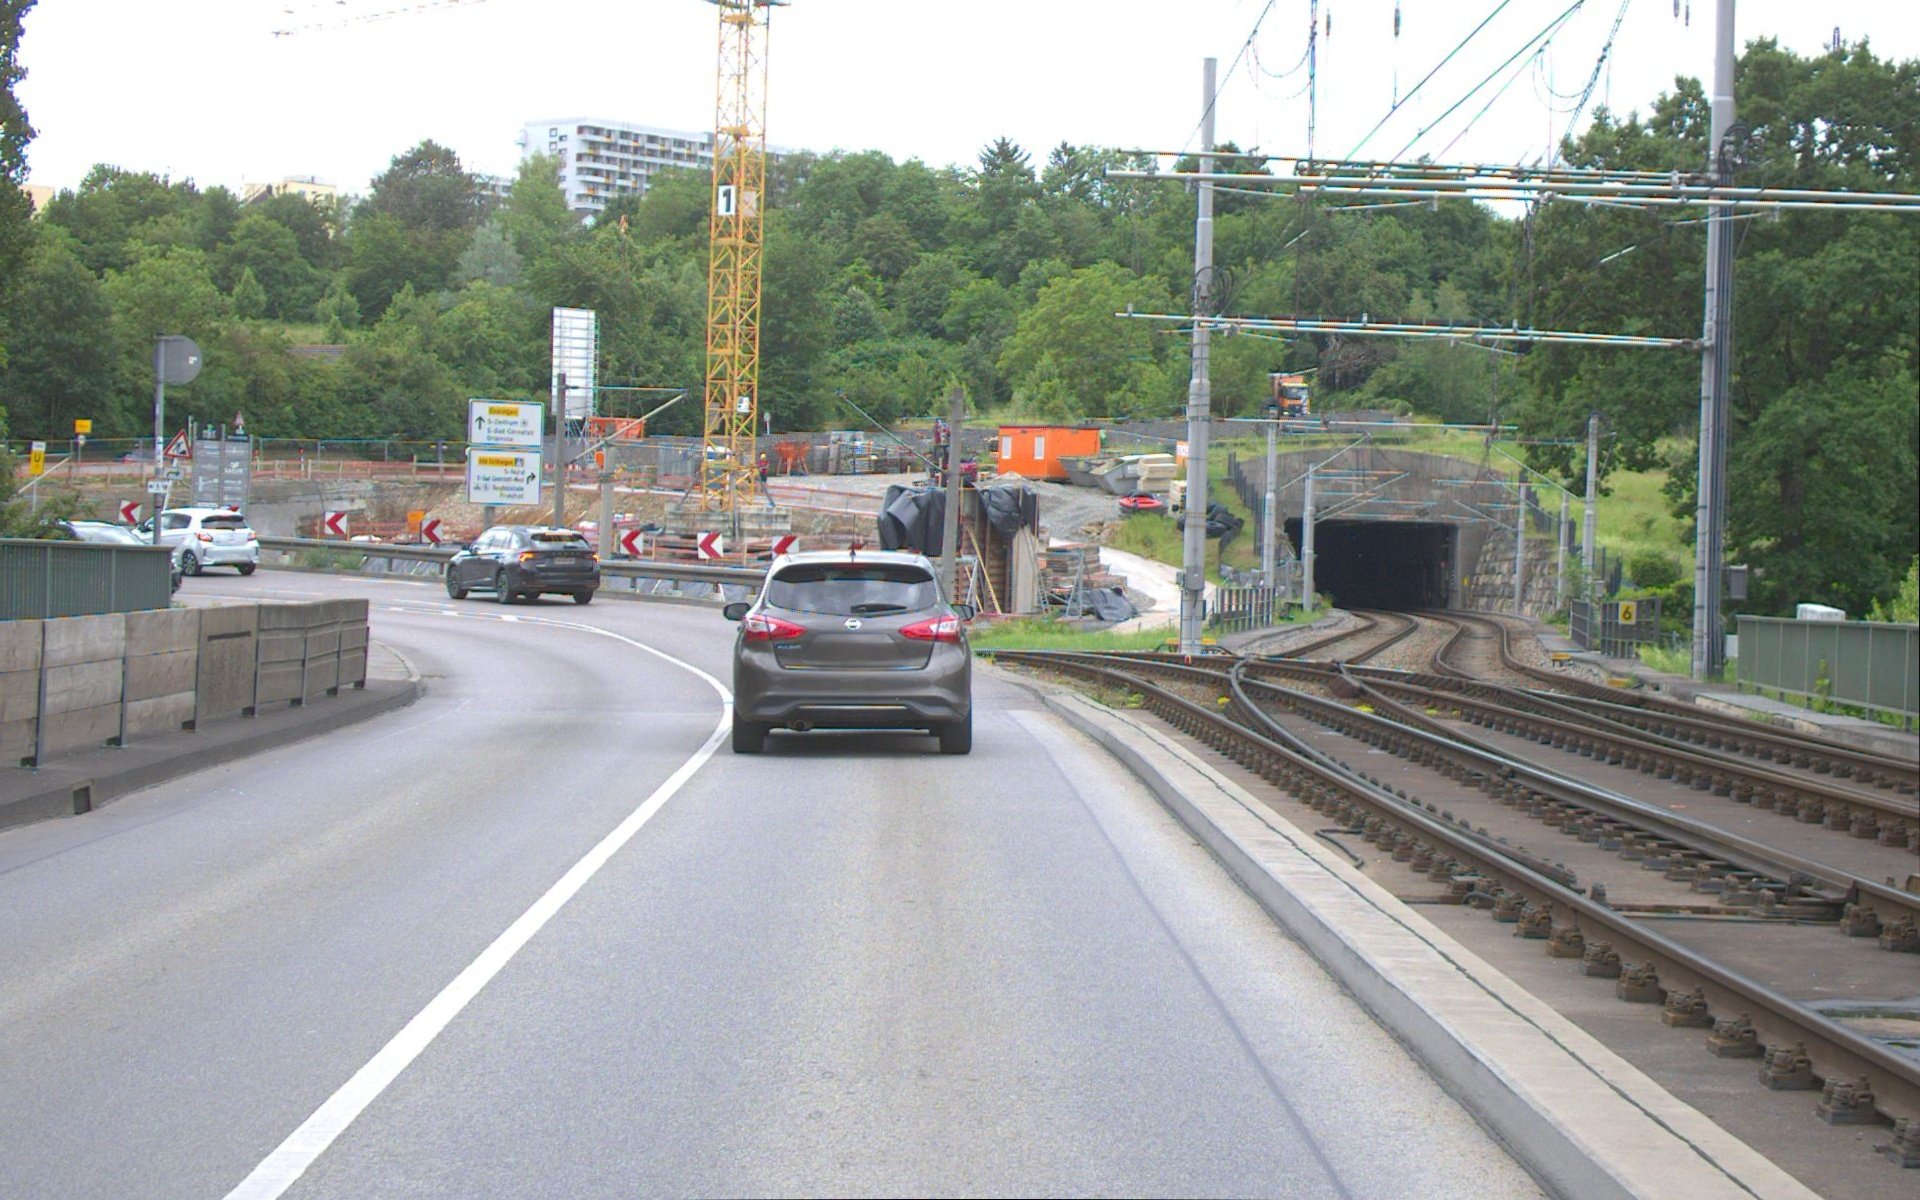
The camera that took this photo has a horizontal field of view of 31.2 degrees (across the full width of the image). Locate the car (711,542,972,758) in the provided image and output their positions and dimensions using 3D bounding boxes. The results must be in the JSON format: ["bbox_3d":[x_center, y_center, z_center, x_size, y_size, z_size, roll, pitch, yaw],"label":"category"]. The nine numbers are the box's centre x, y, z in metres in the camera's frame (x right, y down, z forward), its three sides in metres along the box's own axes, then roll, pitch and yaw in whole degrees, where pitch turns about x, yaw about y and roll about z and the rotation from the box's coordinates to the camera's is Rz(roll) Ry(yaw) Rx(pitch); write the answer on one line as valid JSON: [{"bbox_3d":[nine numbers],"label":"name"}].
[{"bbox_3d":[-0.886,0.331,26.495,1.830,1.505,4.000,1,1,-1],"label":"car"}]

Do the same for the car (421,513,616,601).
[{"bbox_3d":[-8.513,-0.839,66.009,1.680,1.601,4.308,0,2,-39],"label":"car"}]

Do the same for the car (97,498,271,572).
[{"bbox_3d":[-17.691,-1.495,78.275,4.306,1.601,1.681,2,2,42],"label":"car"}]
